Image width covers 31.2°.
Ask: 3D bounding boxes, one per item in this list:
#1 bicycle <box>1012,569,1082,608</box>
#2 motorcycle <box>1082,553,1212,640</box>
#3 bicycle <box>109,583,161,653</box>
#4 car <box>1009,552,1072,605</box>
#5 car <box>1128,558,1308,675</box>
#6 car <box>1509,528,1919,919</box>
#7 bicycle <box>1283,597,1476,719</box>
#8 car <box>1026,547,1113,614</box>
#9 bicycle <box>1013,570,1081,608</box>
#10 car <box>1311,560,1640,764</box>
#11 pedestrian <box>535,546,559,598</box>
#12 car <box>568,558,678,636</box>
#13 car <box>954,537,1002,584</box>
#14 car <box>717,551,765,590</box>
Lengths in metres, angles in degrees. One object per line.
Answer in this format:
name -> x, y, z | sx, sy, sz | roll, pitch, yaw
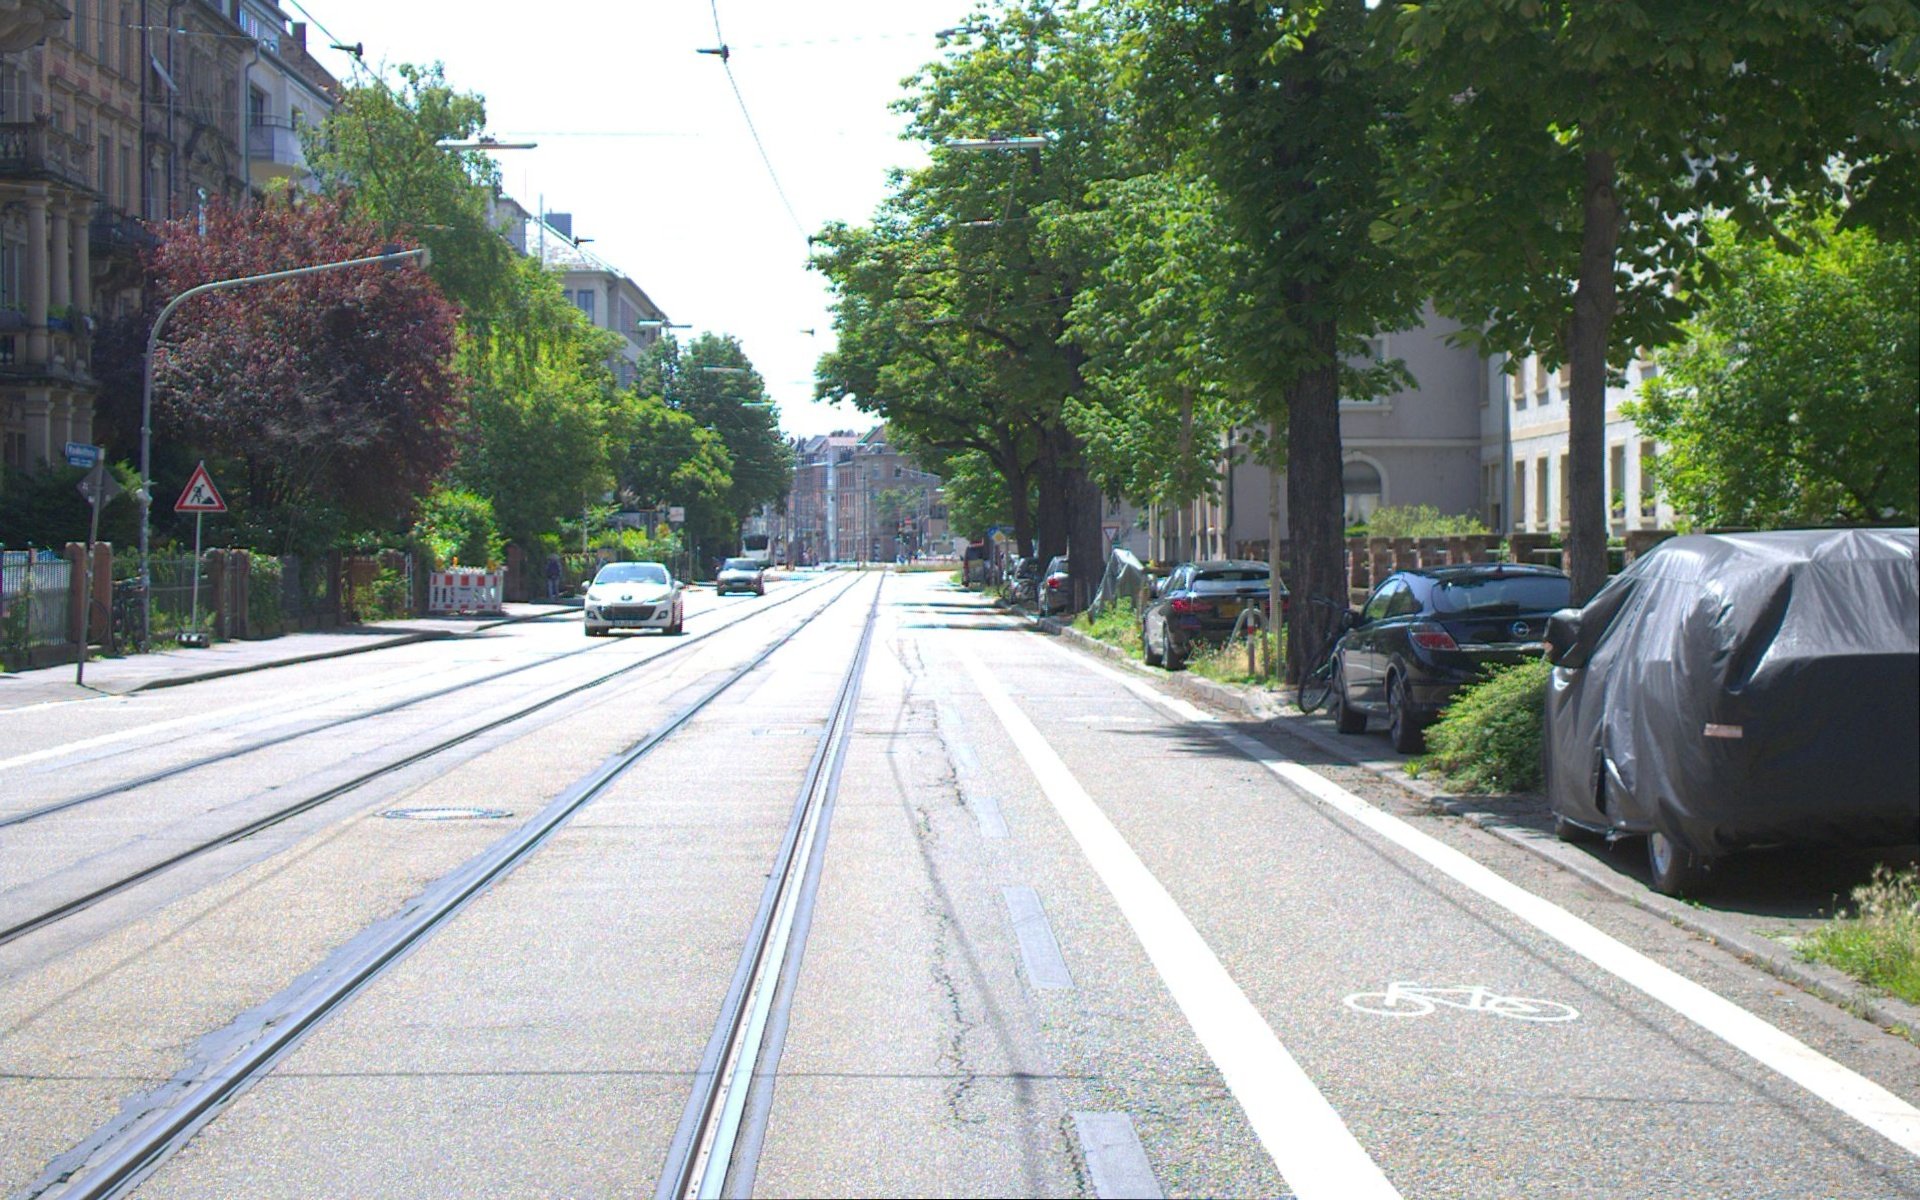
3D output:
bicycle -> 2.489, -0.332, 98.218 | 1.963, 1.059, 0.598 | -1, 0, 6
motorcycle -> 3.373, -0.066, 62.162 | 2.318, 1.535, 0.867 | 0, 1, 42
bicycle -> -12.245, 0.257, 51.062 | 0.454, 1.000, 1.807 | -1, 1, -5
car -> 2.392, -0.634, 102.474 | 1.621, 1.443, 3.810 | -3, 0, -1
car -> 3.435, 0.182, 46.624 | 1.769, 1.422, 4.863 | -1, 1, -4
car -> 4.068, 0.486, 17.311 | 1.947, 1.645, 4.880 | -1, 1, 2
bicycle -> 3.892, 0.531, 31.941 | 1.652, 1.074, 0.606 | -1, 1, -8
car -> 2.643, -0.499, 83.692 | 1.774, 1.496, 4.306 | -2, 1, -2
bicycle -> 2.480, -0.306, 97.665 | 1.890, 1.048, 0.538 | -1, 0, 6
car -> 4.007, 0.429, 27.398 | 1.694, 1.414, 4.358 | -1, 1, -4
pedestrian -> -12.935, -0.886, 107.632 | 0.750, 1.623, 0.833 | 0, 1, -7
car -> -6.523, -0.079, 66.855 | 1.756, 1.419, 4.000 | -2, 1, -1
car -> 0.805, -1.818, 156.729 | 1.993, 2.028, 4.697 | -1, 1, -1
car -> -8.406, -1.157, 132.272 | 1.686, 1.449, 3.749 | -1, 1, -1
